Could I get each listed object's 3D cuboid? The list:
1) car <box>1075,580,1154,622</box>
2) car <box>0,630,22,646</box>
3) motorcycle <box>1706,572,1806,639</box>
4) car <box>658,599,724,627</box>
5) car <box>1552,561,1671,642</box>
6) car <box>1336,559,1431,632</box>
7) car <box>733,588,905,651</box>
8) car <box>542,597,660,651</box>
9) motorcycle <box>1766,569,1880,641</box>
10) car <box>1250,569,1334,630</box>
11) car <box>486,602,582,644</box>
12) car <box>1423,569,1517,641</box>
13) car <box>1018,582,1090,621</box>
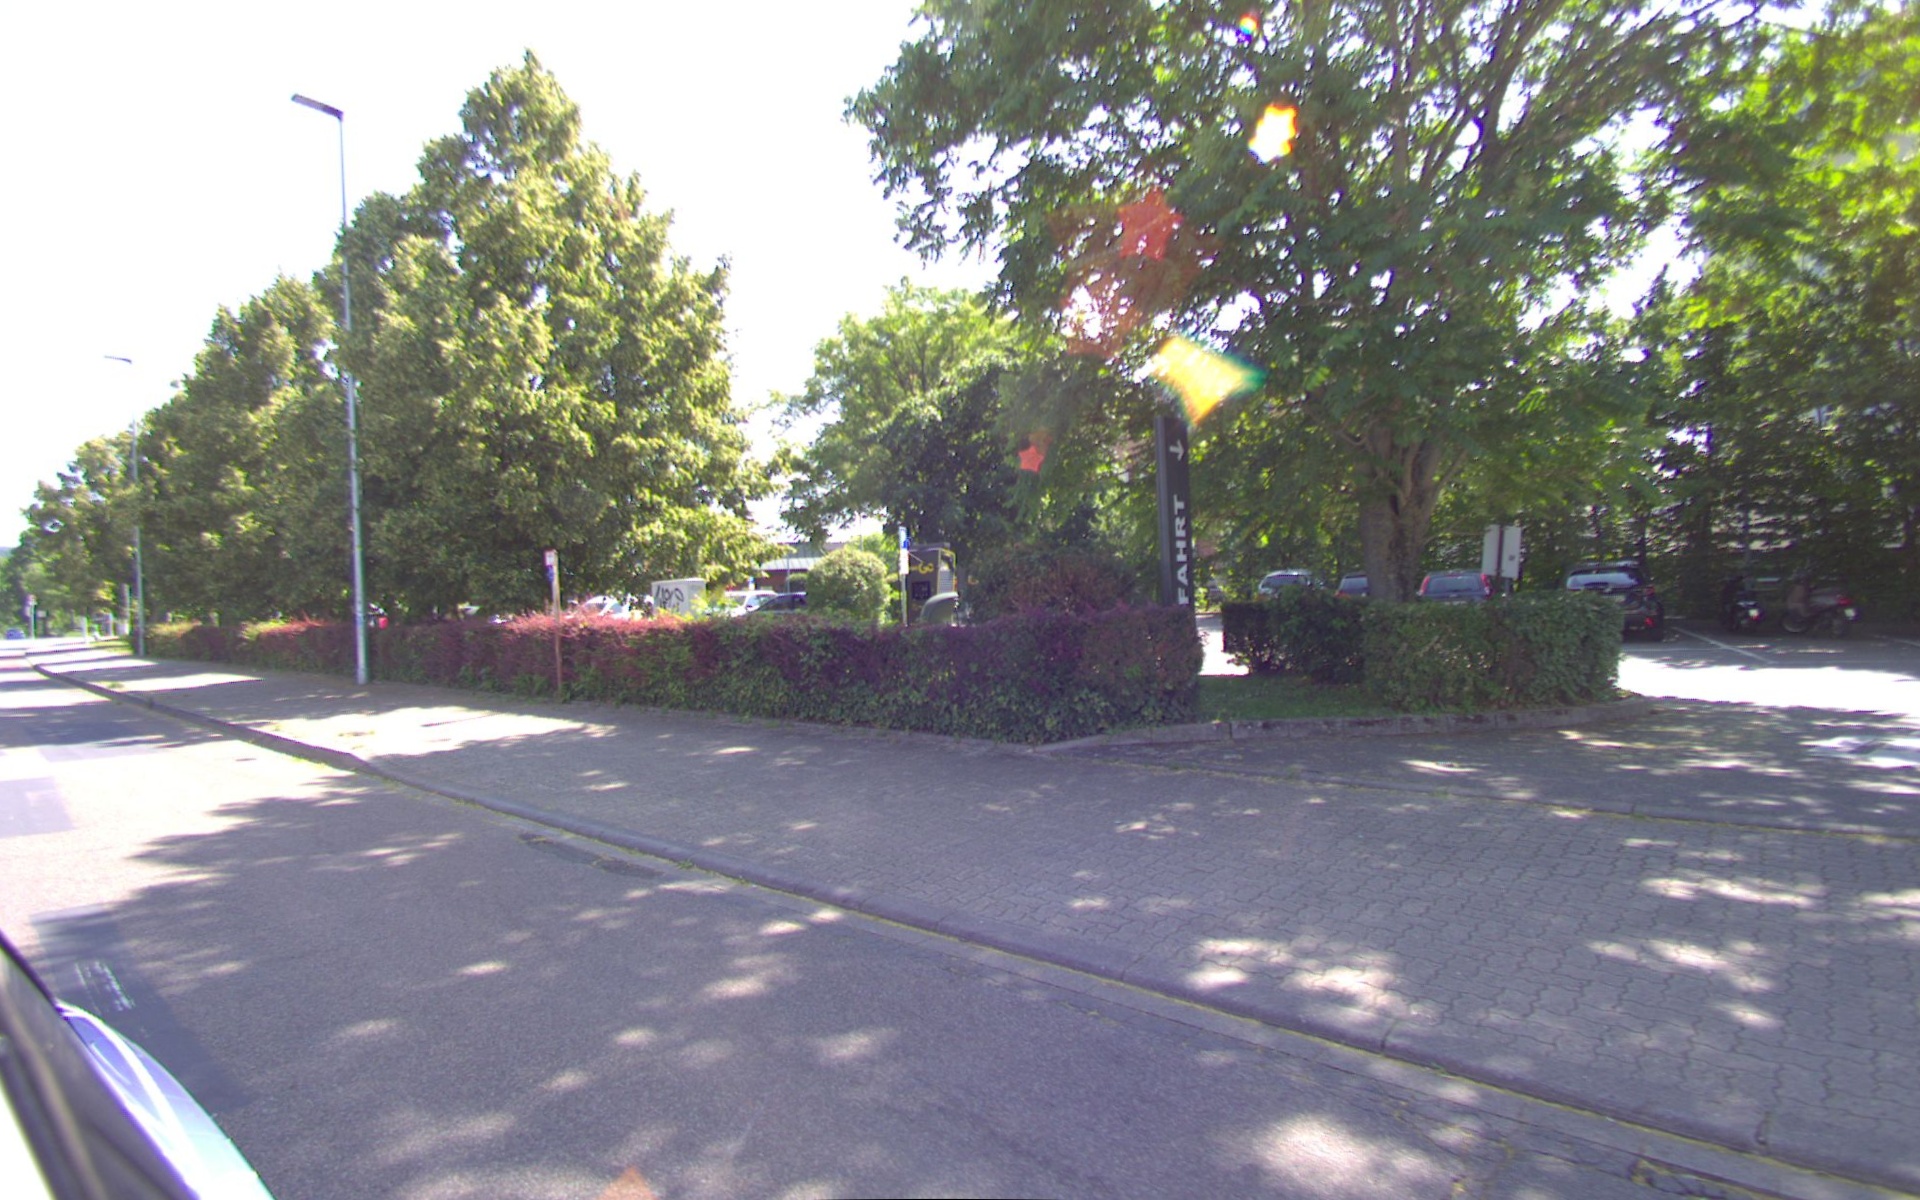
[{"bbox_3d":[6.192,-0.005,40.135,1.787,1.461,4.008,-2,1,29],"label":"car"},{"bbox_3d":[-98.305,3.887,104.739,3.684,1.547,1.588,-2,0,44],"label":"car"},{"bbox_3d":[14.302,0.067,18.254,0.564,1.124,2.173,-2,1,14],"label":"motorcycle"},{"bbox_3d":[-17.087,0.798,64.392,3.934,1.606,1.932,-2,0,-12],"label":"car"},{"bbox_3d":[12.876,-0.020,20.205,1.763,1.398,4.054,-2,1,30],"label":"car"},{"bbox_3d":[11.335,-0.155,26.936,1.795,1.745,3.983,-2,1,30],"label":"car"},{"bbox_3d":[-3.982,0.530,28.037,5.032,1.572,2.045,-2,0,44],"label":"car"},{"bbox_3d":[-13.766,0.885,39.078,1.739,1.841,4.318,-3,0,25],"label":"car"},{"bbox_3d":[14.863,0.050,17.504,0.564,1.140,2.173,-2,1,14],"label":"motorcycle"},{"bbox_3d":[9.839,-0.057,29.822,1.636,1.599,3.812,-2,1,29],"label":"car"},{"bbox_3d":[-20.515,1.122,48.777,4.199,1.812,1.747,-2,1,22],"label":"car"},{"bbox_3d":[11.487,0.066,22.669,1.621,1.405,4.030,-2,1,30],"label":"car"},{"bbox_3d":[4.380,0.035,46.874,1.813,1.588,3.829,-2,1,31],"label":"car"}]
